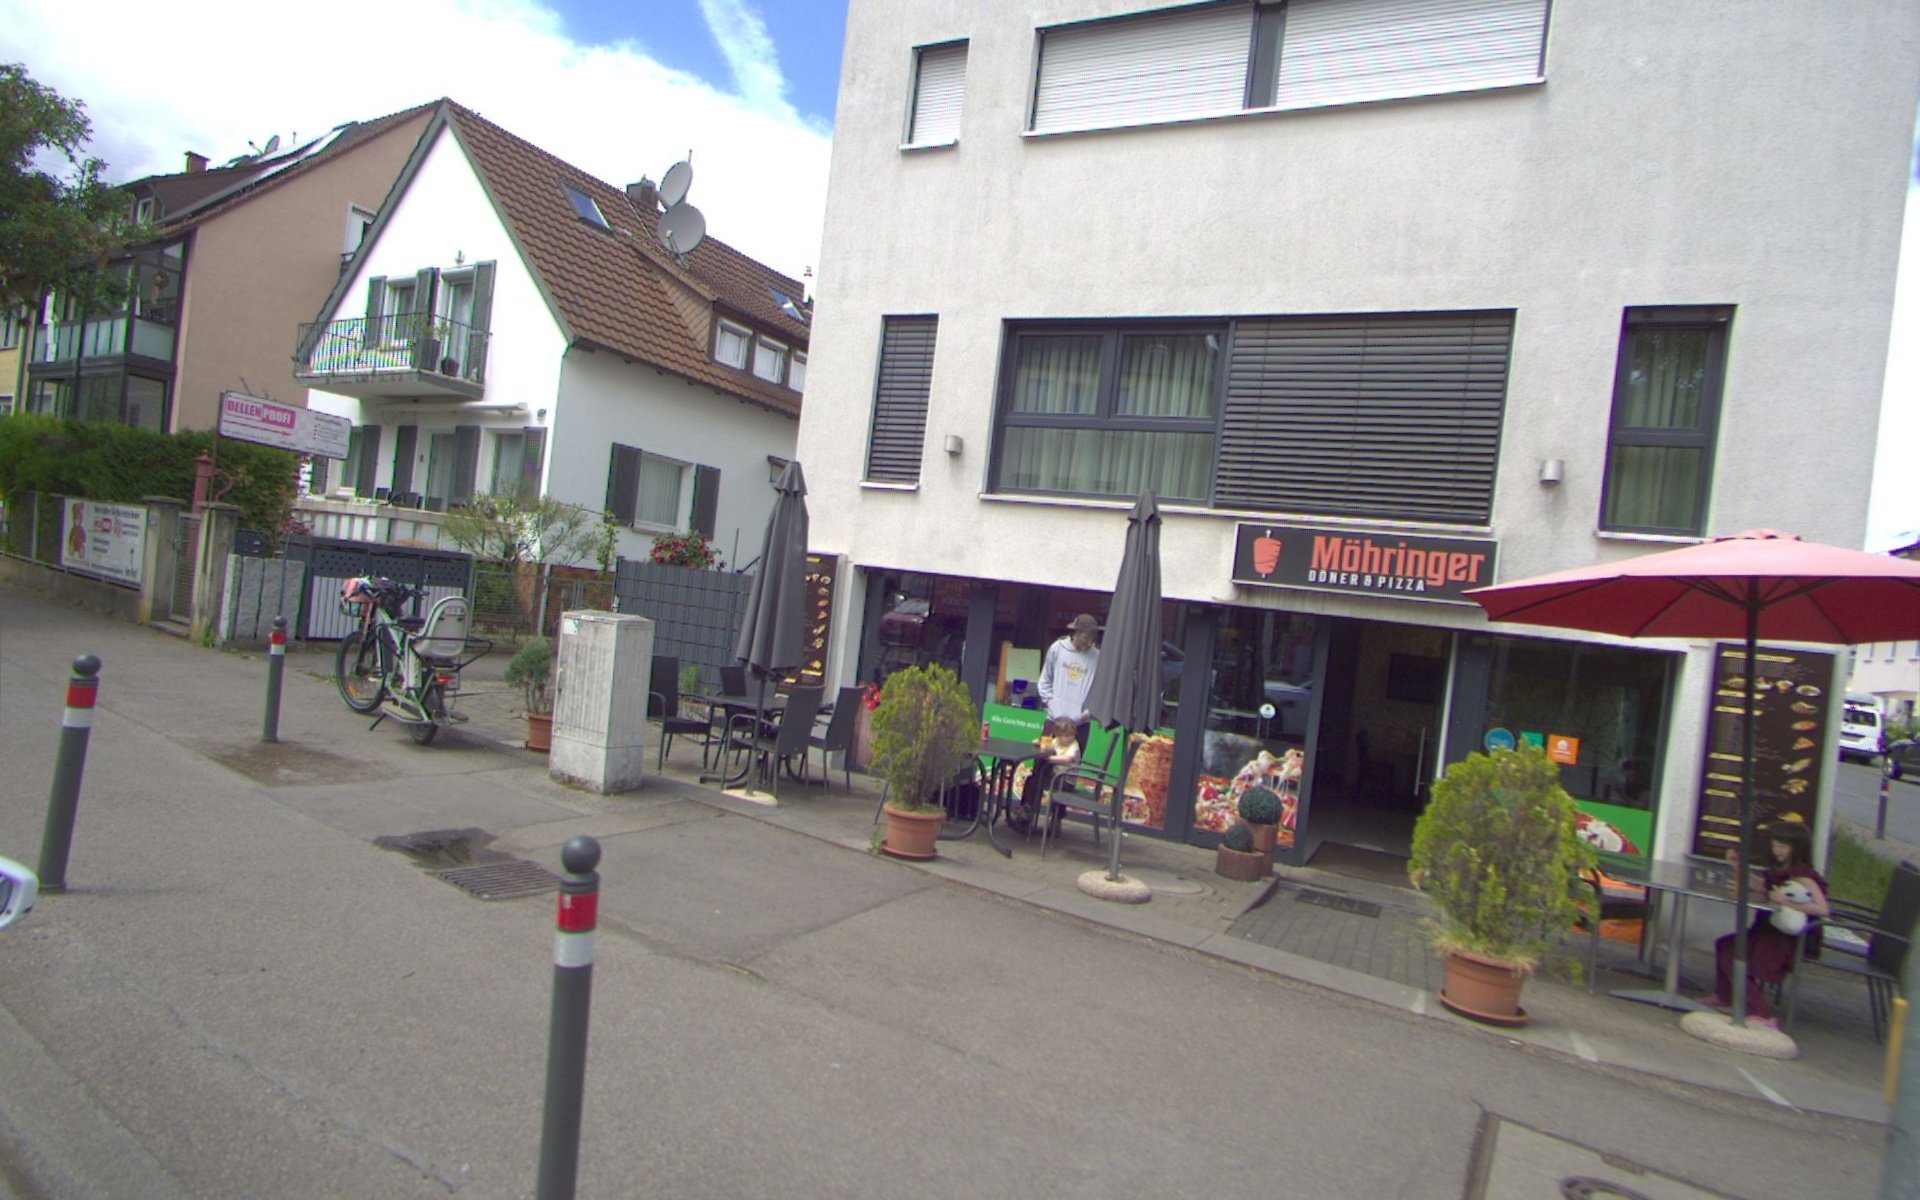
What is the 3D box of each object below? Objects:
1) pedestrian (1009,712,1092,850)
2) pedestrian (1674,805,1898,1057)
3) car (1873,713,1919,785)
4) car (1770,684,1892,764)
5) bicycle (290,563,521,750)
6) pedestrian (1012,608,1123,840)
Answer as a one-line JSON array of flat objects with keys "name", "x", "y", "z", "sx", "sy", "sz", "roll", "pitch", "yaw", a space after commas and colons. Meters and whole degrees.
[{"name": "pedestrian", "x": 0.709, "y": 1.393, "z": 7.852, "sx": 0.488, "sy": 0.949, "sz": 0.420, "roll": 7, "pitch": 0, "yaw": 12}, {"name": "pedestrian", "x": 4.433, "y": 1.752, "z": 5.442, "sx": 0.622, "sy": 1.102, "sz": 0.568, "roll": 7, "pitch": 0, "yaw": 7}, {"name": "car", "x": 24.626, "y": 3.836, "z": 24.907, "sx": 1.597, "sy": 1.701, "sz": 4.124, "roll": 7, "pitch": -1, "yaw": 24}, {"name": "car", "x": 29.017, "y": 4.069, "z": 33.678, "sx": 1.863, "sy": 2.251, "sz": 4.122, "roll": 7, "pitch": -1, "yaw": 26}, {"name": "bicycle", "x": -4.447, "y": 0.403, "z": 7.981, "sx": 2.180, "sy": 1.164, "sz": 0.720, "roll": 7, "pitch": 0, "yaw": 38}, {"name": "pedestrian", "x": 0.898, "y": 0.998, "z": 8.315, "sx": 0.663, "sy": 1.783, "sz": 0.429, "roll": 7, "pitch": 0, "yaw": 12}]
